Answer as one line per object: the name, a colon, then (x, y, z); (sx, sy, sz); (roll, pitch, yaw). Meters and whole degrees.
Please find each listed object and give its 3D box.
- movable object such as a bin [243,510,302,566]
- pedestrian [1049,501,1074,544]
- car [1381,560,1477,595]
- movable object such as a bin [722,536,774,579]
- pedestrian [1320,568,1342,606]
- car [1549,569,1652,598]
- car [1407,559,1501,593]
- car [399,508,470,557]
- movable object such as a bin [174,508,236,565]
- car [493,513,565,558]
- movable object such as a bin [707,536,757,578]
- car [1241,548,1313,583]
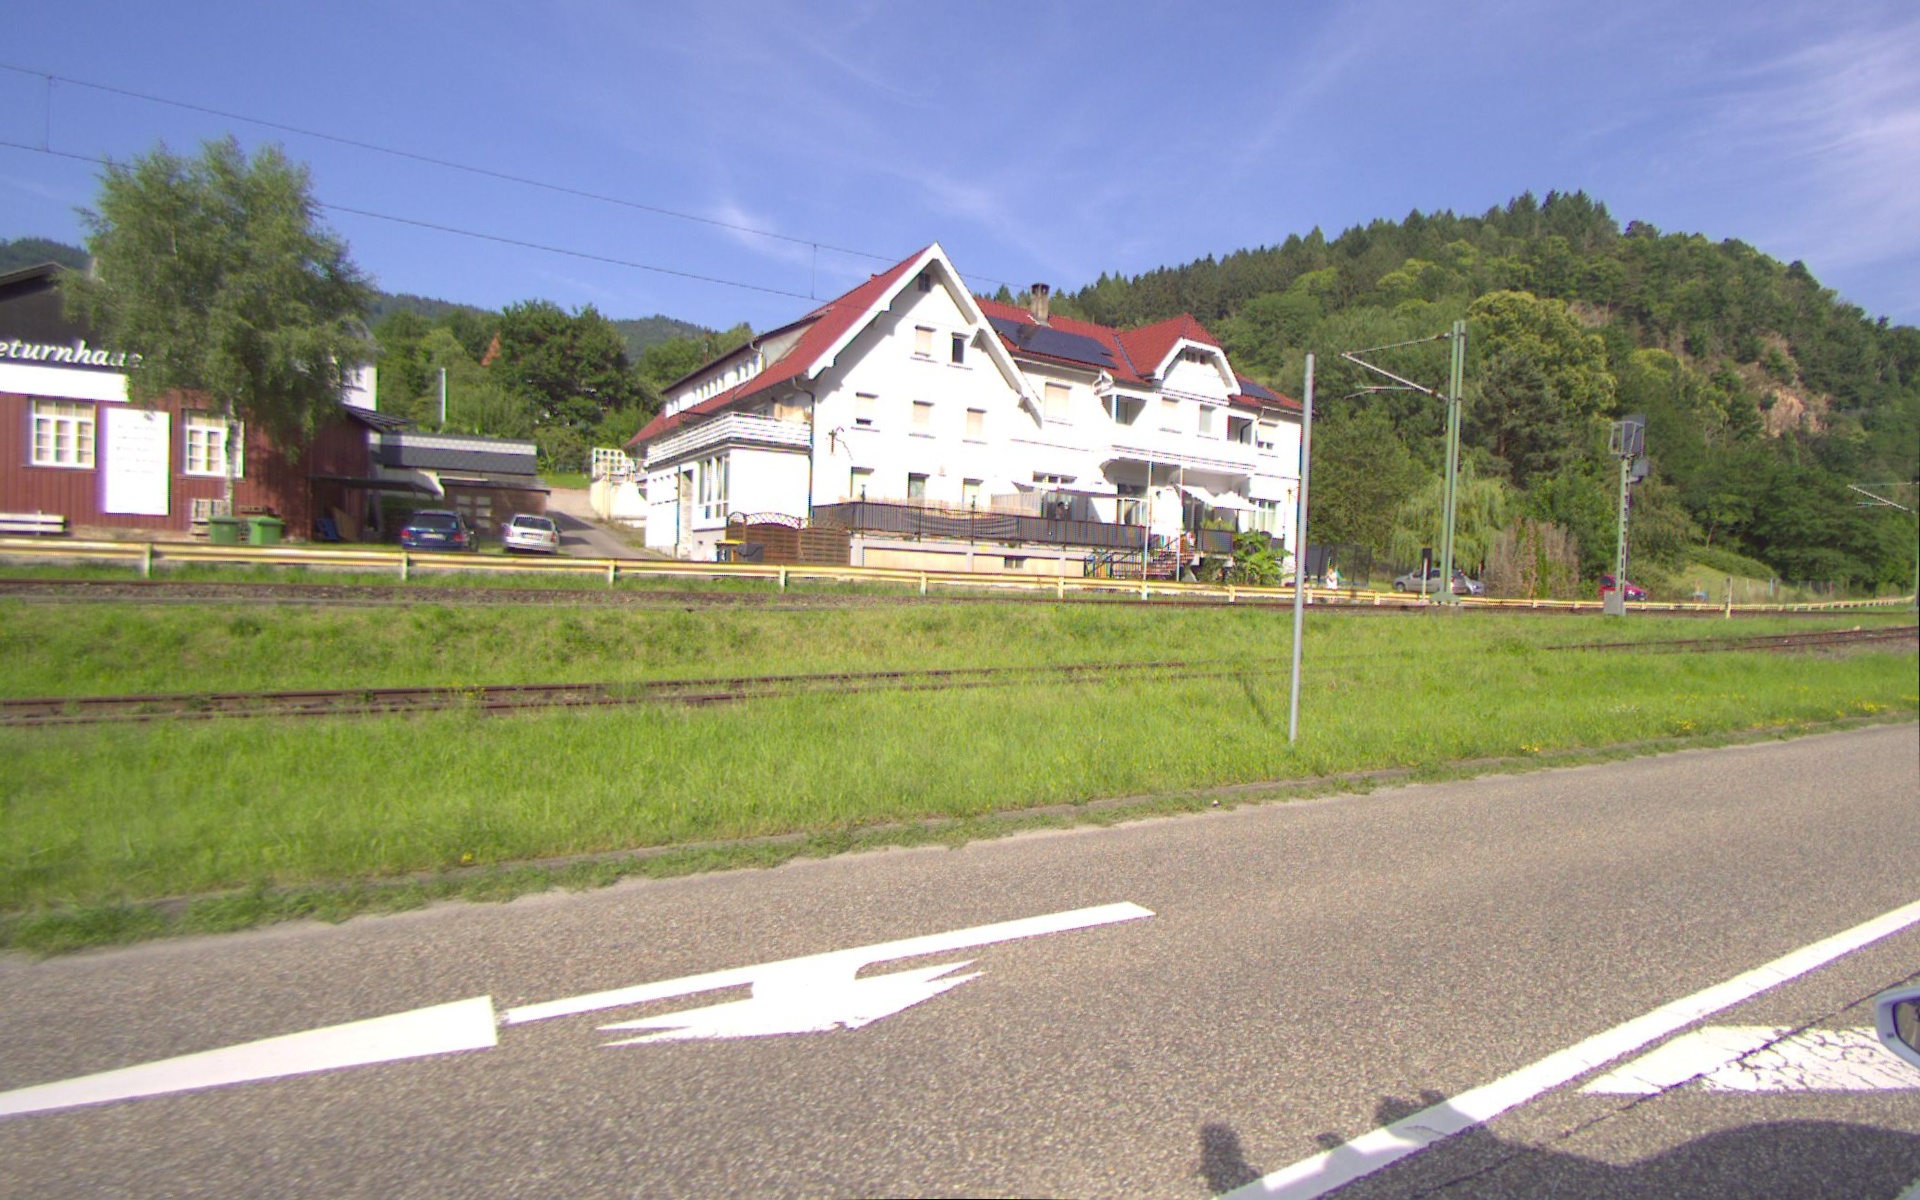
movable object such as a bin: (-15.940, -1.425, 23.271); (1.083, 1.208, 1.131); (1, 2, -37)
pedestrian: (3.943, -3.008, 39.018); (0.670, 1.638, 0.603); (0, 3, -33)
car: (24.714, -1.202, 53.070); (1.978, 1.714, 4.122); (1, 2, -32)
movable object such as a bin: (-6.130, -1.227, 29.032); (1.130, 1.208, 1.084); (1, 2, -32)
pedestrian: (16.615, -0.591, 44.971); (0.667, 1.638, 0.605); (4, 3, 40)
car: (40.882, -1.089, 64.231); (2.426, 1.714, 4.941); (1, 2, -29)
car: (26.648, -1.329, 54.294); (1.978, 1.714, 4.122); (1, 2, -32)
car: (-15.369, -1.923, 29.362); (1.715, 1.288, 4.076); (1, 2, -28)
movable object such as a bin: (-16.917, -1.418, 22.539); (1.083, 1.208, 1.131); (1, 2, -37)
car: (-14.562, -2.139, 33.809); (1.734, 1.347, 4.231); (0, 2, -30)
movable object such as a bin: (-6.807, -1.280, 29.975); (1.130, 1.208, 1.084); (1, 2, -32)
car: (19.200, -2.115, 61.055); (1.797, 1.814, 3.969); (1, 5, -28)
